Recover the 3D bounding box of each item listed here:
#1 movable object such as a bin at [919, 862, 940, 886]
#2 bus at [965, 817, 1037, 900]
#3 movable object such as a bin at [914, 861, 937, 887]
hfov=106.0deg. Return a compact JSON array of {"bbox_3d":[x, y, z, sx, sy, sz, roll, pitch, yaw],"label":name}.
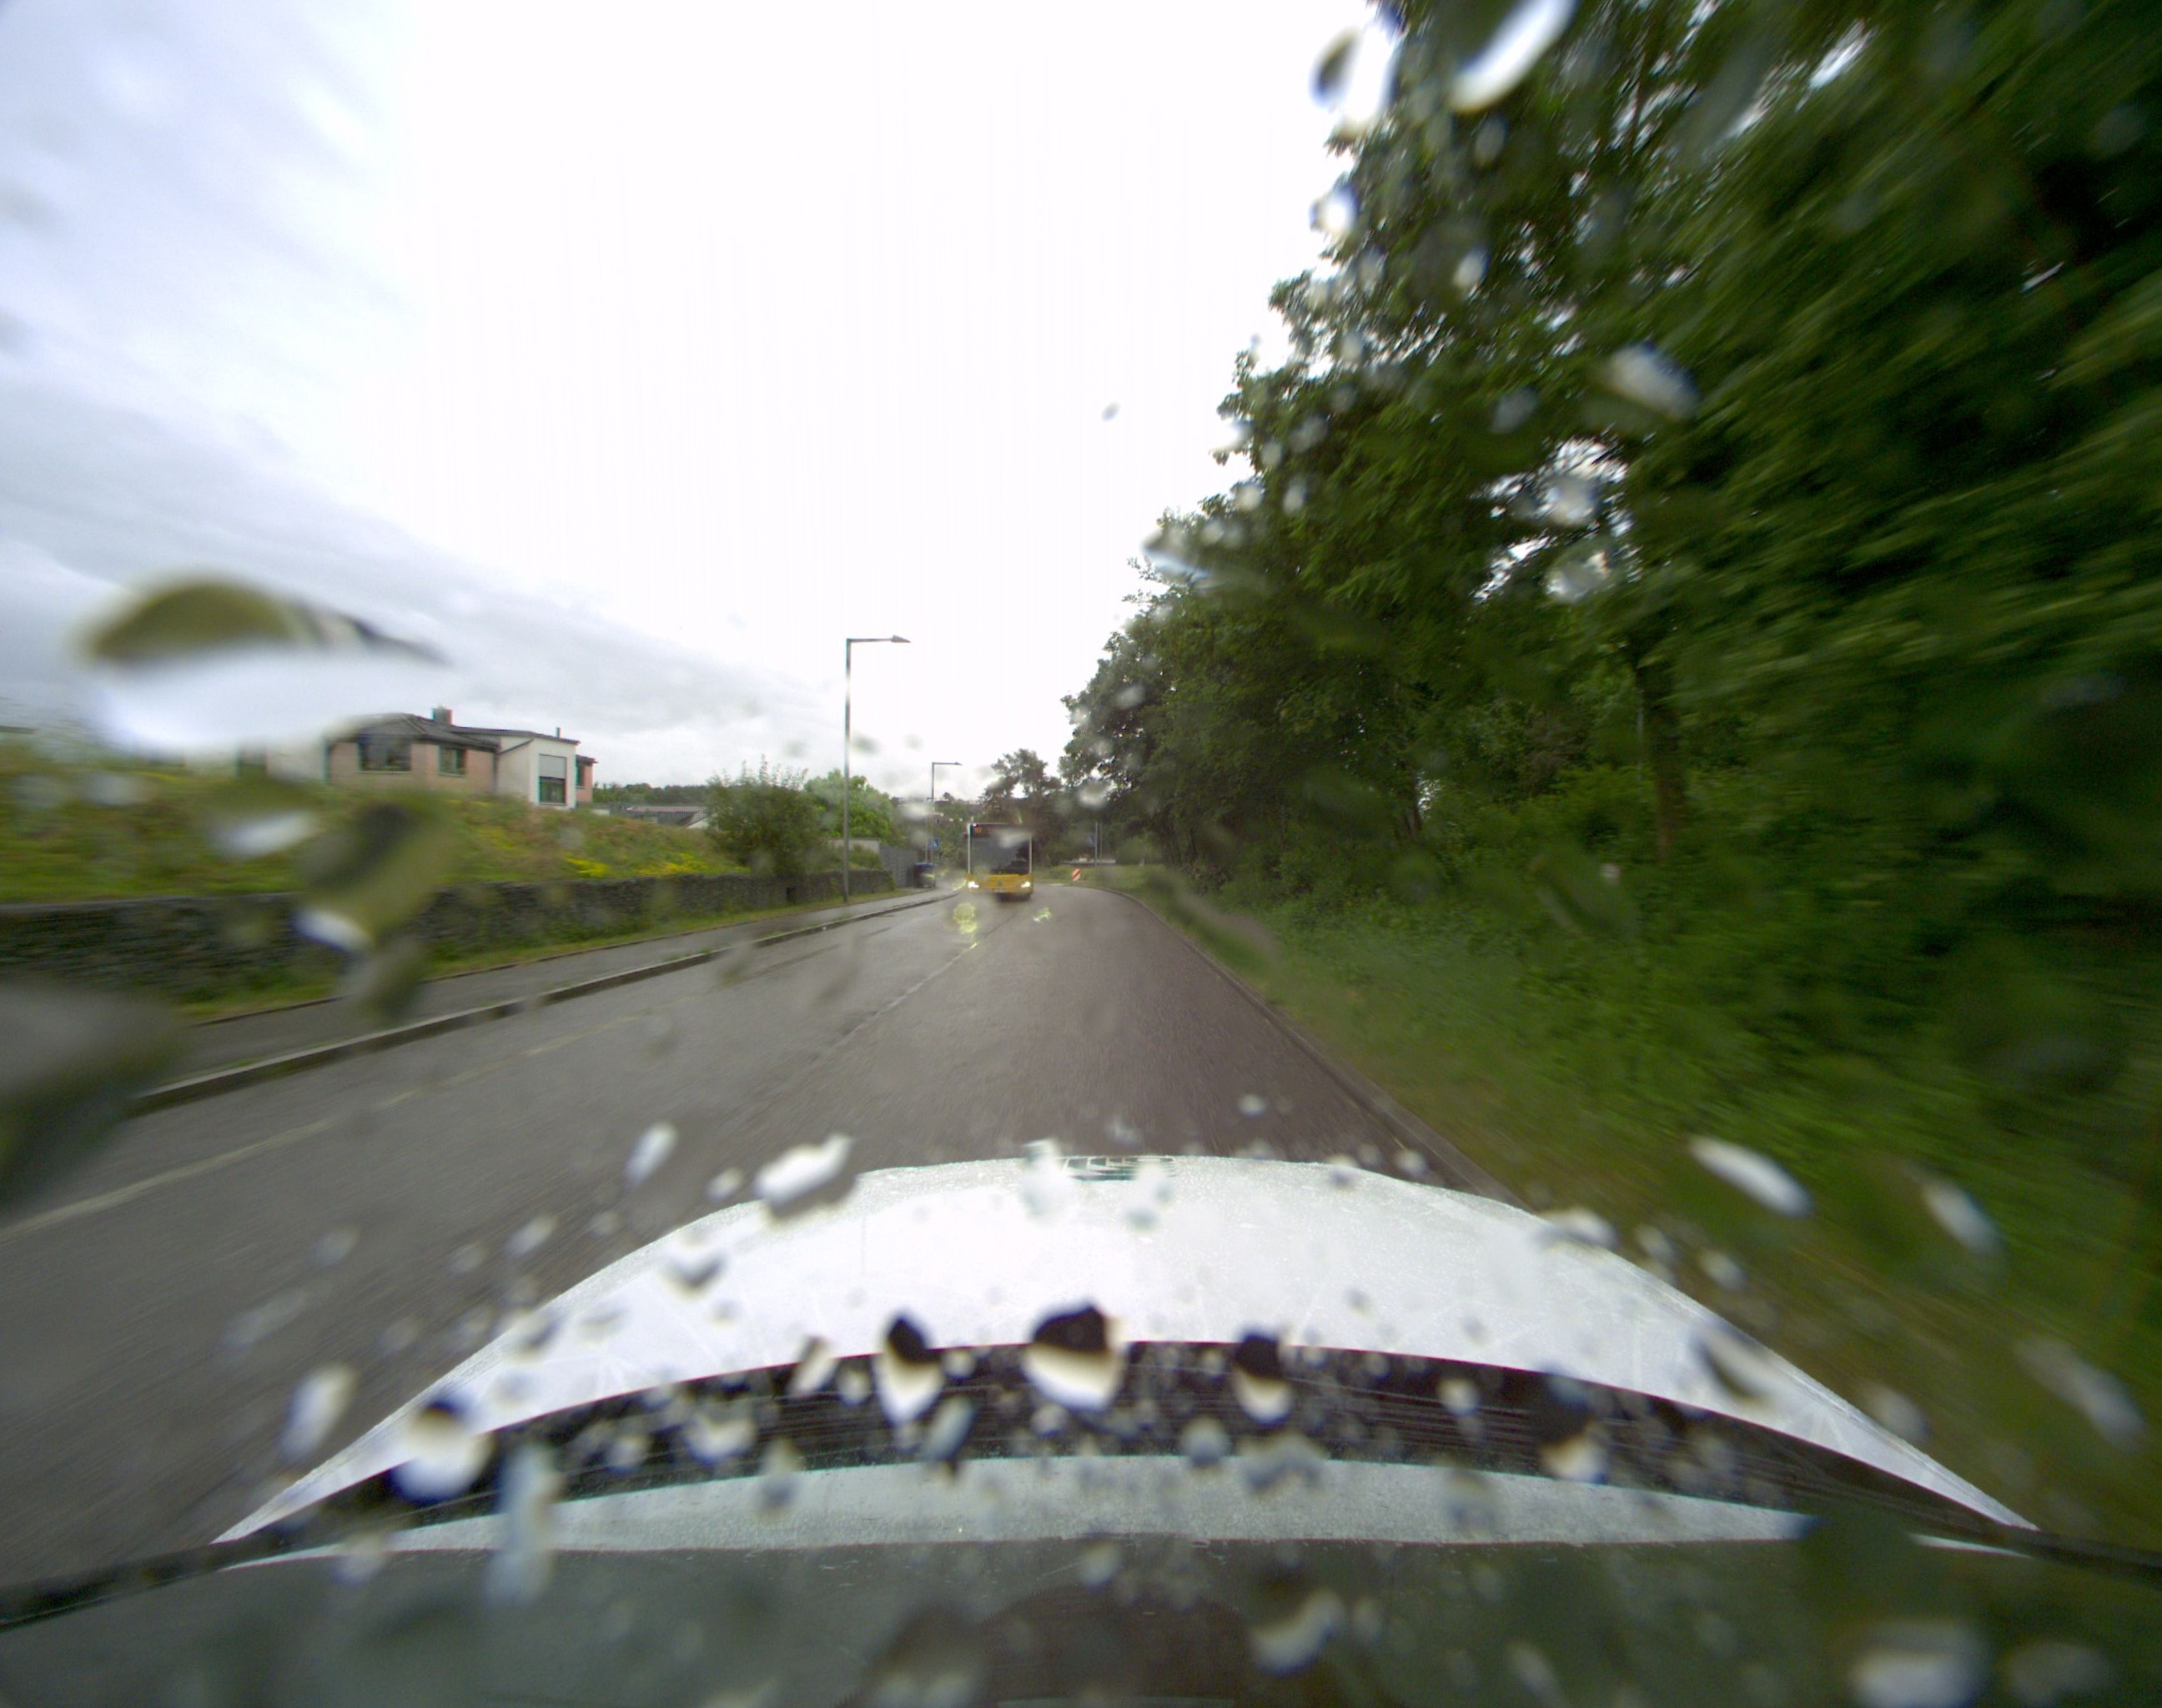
[{"bbox_3d":[-8.845,1.157,47.628,1.131,1.322,1.358,4,-1,-9],"label":"movable object such as a bin"},{"bbox_3d":[-3.465,0.241,35.664,2.636,3.067,10.833,-1,-1,-5],"label":"bus"},{"bbox_3d":[-8.454,1.080,44.281,1.131,1.339,1.394,3,-1,-9],"label":"movable object such as a bin"}]
